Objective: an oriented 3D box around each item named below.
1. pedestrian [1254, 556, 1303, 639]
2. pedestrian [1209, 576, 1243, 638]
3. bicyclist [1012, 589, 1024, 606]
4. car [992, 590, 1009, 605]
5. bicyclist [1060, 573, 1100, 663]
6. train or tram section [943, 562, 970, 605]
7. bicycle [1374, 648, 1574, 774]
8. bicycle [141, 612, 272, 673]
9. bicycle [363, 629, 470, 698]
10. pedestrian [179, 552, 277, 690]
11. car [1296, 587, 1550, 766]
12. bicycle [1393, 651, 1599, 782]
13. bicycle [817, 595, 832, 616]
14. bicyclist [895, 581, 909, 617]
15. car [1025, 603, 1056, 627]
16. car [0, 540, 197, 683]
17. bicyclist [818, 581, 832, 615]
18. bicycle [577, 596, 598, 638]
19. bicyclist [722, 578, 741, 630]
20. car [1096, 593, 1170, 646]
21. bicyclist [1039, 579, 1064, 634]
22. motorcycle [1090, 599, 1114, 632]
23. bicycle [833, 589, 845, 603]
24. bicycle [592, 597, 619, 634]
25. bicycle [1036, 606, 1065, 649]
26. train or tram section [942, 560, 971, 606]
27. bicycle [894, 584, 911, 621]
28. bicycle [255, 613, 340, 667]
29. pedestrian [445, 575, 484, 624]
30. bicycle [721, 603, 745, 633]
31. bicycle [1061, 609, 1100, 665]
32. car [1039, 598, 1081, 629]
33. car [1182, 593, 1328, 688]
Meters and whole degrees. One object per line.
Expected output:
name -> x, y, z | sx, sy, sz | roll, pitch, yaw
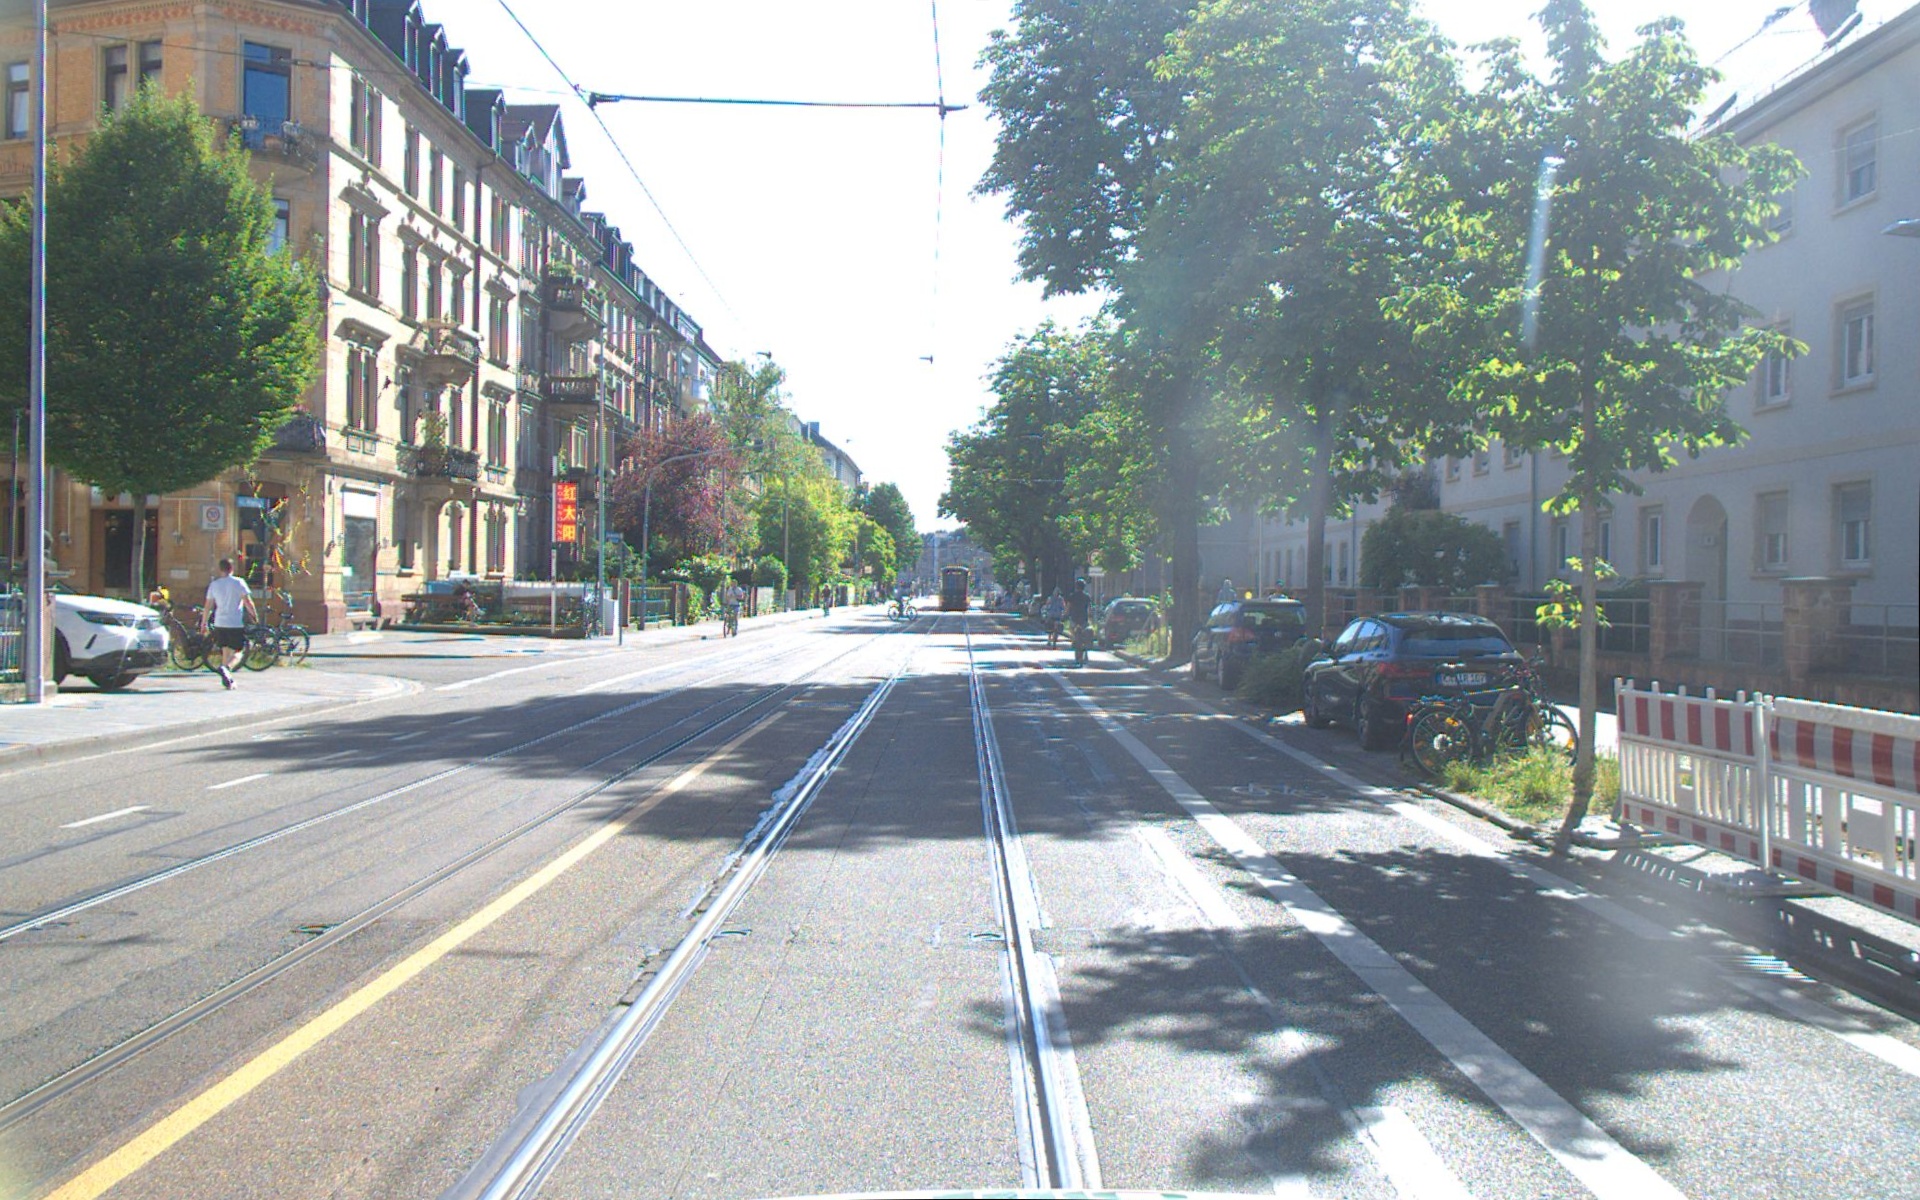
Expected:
pedestrian -> 7.078, -0.060, 36.754 | 0.593, 1.801, 0.904 | -2, 1, -30
pedestrian -> 7.690, 0.201, 47.797 | 0.748, 1.754, 0.579 | 2, 0, 29
bicyclist -> 4.458, -0.207, 127.656 | 0.756, 1.313, 0.734 | 2, 0, 16
car -> 4.534, -0.317, 186.188 | 1.718, 1.579, 3.677 | 2, 0, 0
bicyclist -> 2.574, 0.382, 35.464 | 0.712, 1.880, 0.836 | 2, 0, -1
train or tram section -> -0.330, -1.413, 139.857 | 2.109, 3.491, 6.611 | 2, 0, 0
bicycle -> 4.881, 1.049, 15.753 | 1.725, 1.096, 0.433 | 2, 0, 1
bicycle -> -11.800, 0.670, 25.938 | 1.768, 0.930, 0.613 | 2, -2, -36
bicycle -> -7.611, 0.881, 23.199 | 0.609, 0.930, 1.289 | 0, -2, 38
pedestrian -> -9.749, 0.278, 22.079 | 0.813, 1.754, 1.081 | 2, -1, -5
car -> 5.140, 0.763, 18.925 | 1.632, 1.791, 4.230 | 1, 0, -1
bicycle -> 4.929, 1.064, 15.259 | 1.725, 1.096, 0.433 | 2, 0, 1
bicycle -> -7.362, 0.306, 90.175 | 0.677, 1.132, 1.718 | 0, 0, 0
bicyclist -> -3.027, -0.076, 85.901 | 0.632, 1.827, 0.956 | 2, 0, 0
car -> 4.997, 0.913, 103.420 | 1.713, 1.445, 4.000 | 0, 0, -1
car -> -12.371, 0.077, 21.051 | 4.353, 1.672, 1.967 | 2, 0, 2
bicyclist -> -7.368, -0.124, 90.203 | 0.647, 1.833, 0.616 | -1, 0, 0
bicycle -> -10.408, 0.479, 46.265 | 0.363, 1.146, 0.809 | 2, 0, 0
bicyclist -> -7.339, 0.138, 53.179 | 0.454, 1.647, 0.744 | -1, 0, 0
car -> 5.117, 0.557, 49.290 | 1.750, 1.489, 4.044 | 0, 0, 0
bicyclist -> 2.559, 0.183, 46.315 | 0.622, 1.493, 0.616 | 2, 0, 0
motorcycle -> 5.450, 0.582, 63.742 | 0.486, 1.211, 1.859 | -3, 1, -7
bicycle -> -10.005, -0.361, 136.805 | 0.622, 1.087, 1.823 | 2, 0, -17
bicycle -> -10.201, 0.423, 47.628 | 0.328, 1.018, 1.870 | 2, 0, 0
bicycle -> 2.534, 0.750, 46.502 | 0.677, 1.132, 1.917 | 2, 0, 0
train or tram section -> -0.297, -1.377, 133.217 | 2.109, 3.491, 6.611 | 2, 0, 0
bicycle -> -2.974, 0.113, 85.893 | 0.649, 1.891, 2.260 | 2, 0, 1
bicycle -> -11.785, 0.708, 29.436 | 1.280, 0.930, 0.613 | 2, -2, -36
pedestrian -> -14.101, -0.008, 47.080 | 0.882, 1.376, 0.577 | -1, 0, 1
bicycle -> -7.324, 0.573, 53.364 | 0.451, 0.942, 2.203 | 0, 0, 0
bicycle -> 2.584, 0.780, 35.527 | 0.677, 1.132, 1.718 | 2, 0, 0
car -> 5.075, 0.664, 84.425 | 1.596, 1.461, 4.662 | 0, 1, -3
car -> 5.039, 0.647, 28.786 | 1.685, 1.499, 4.245 | 0, 1, -2
